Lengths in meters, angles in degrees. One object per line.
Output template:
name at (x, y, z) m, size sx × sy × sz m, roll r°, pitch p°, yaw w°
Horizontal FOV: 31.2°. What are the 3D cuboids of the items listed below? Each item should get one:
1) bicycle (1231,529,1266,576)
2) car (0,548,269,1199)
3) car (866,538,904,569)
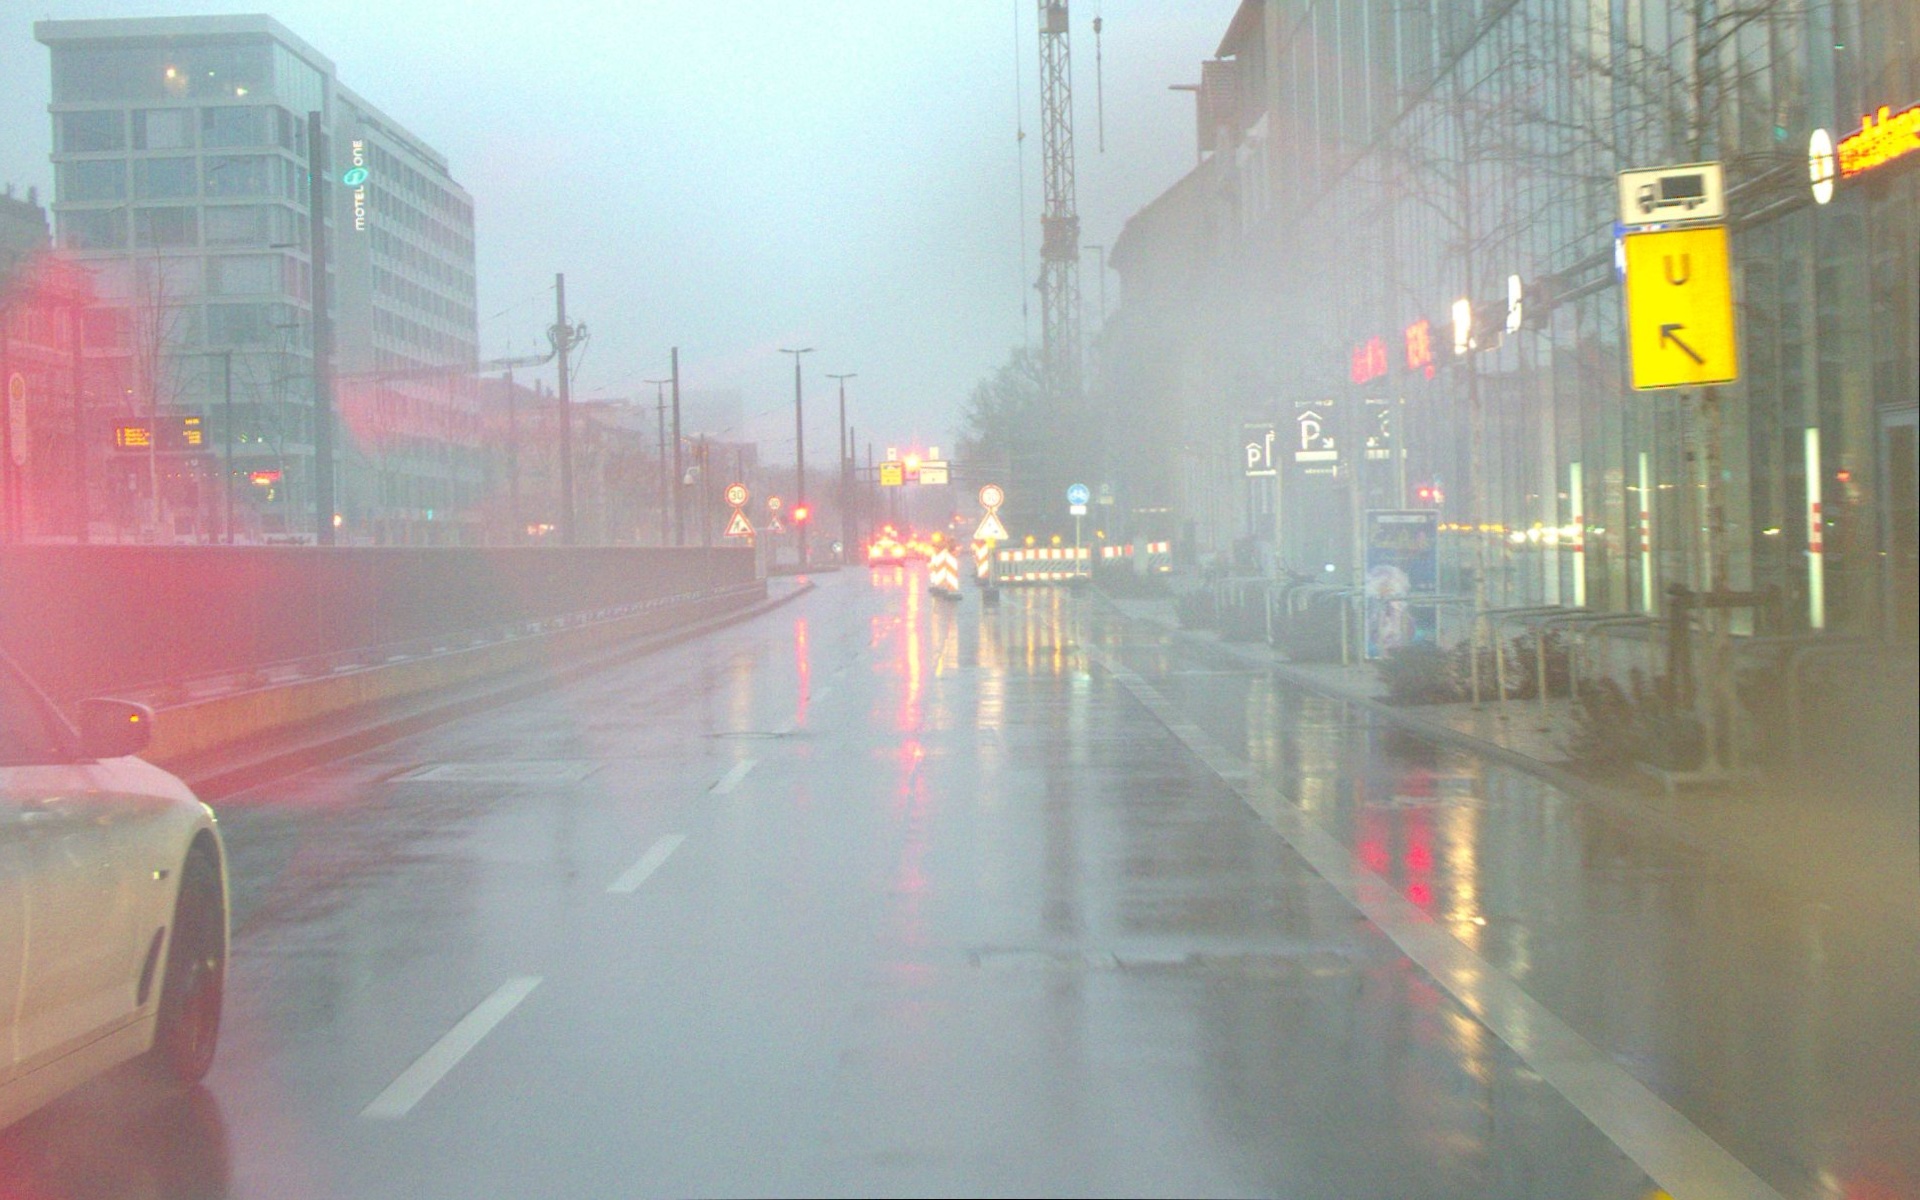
bicycle at (7.869, -1.298, 93.919) m, size 0.682 × 1.218 × 1.906 m, roll -4°, pitch 1°, yaw -1°
car at (-2.991, 0.630, 7.561) m, size 1.852 × 1.460 × 4.947 m, roll 0°, pitch 1°, yaw 1°
car at (-3.984, -2.476, 183.023) m, size 1.901 × 1.636 × 4.000 m, roll 0°, pitch 1°, yaw 0°
